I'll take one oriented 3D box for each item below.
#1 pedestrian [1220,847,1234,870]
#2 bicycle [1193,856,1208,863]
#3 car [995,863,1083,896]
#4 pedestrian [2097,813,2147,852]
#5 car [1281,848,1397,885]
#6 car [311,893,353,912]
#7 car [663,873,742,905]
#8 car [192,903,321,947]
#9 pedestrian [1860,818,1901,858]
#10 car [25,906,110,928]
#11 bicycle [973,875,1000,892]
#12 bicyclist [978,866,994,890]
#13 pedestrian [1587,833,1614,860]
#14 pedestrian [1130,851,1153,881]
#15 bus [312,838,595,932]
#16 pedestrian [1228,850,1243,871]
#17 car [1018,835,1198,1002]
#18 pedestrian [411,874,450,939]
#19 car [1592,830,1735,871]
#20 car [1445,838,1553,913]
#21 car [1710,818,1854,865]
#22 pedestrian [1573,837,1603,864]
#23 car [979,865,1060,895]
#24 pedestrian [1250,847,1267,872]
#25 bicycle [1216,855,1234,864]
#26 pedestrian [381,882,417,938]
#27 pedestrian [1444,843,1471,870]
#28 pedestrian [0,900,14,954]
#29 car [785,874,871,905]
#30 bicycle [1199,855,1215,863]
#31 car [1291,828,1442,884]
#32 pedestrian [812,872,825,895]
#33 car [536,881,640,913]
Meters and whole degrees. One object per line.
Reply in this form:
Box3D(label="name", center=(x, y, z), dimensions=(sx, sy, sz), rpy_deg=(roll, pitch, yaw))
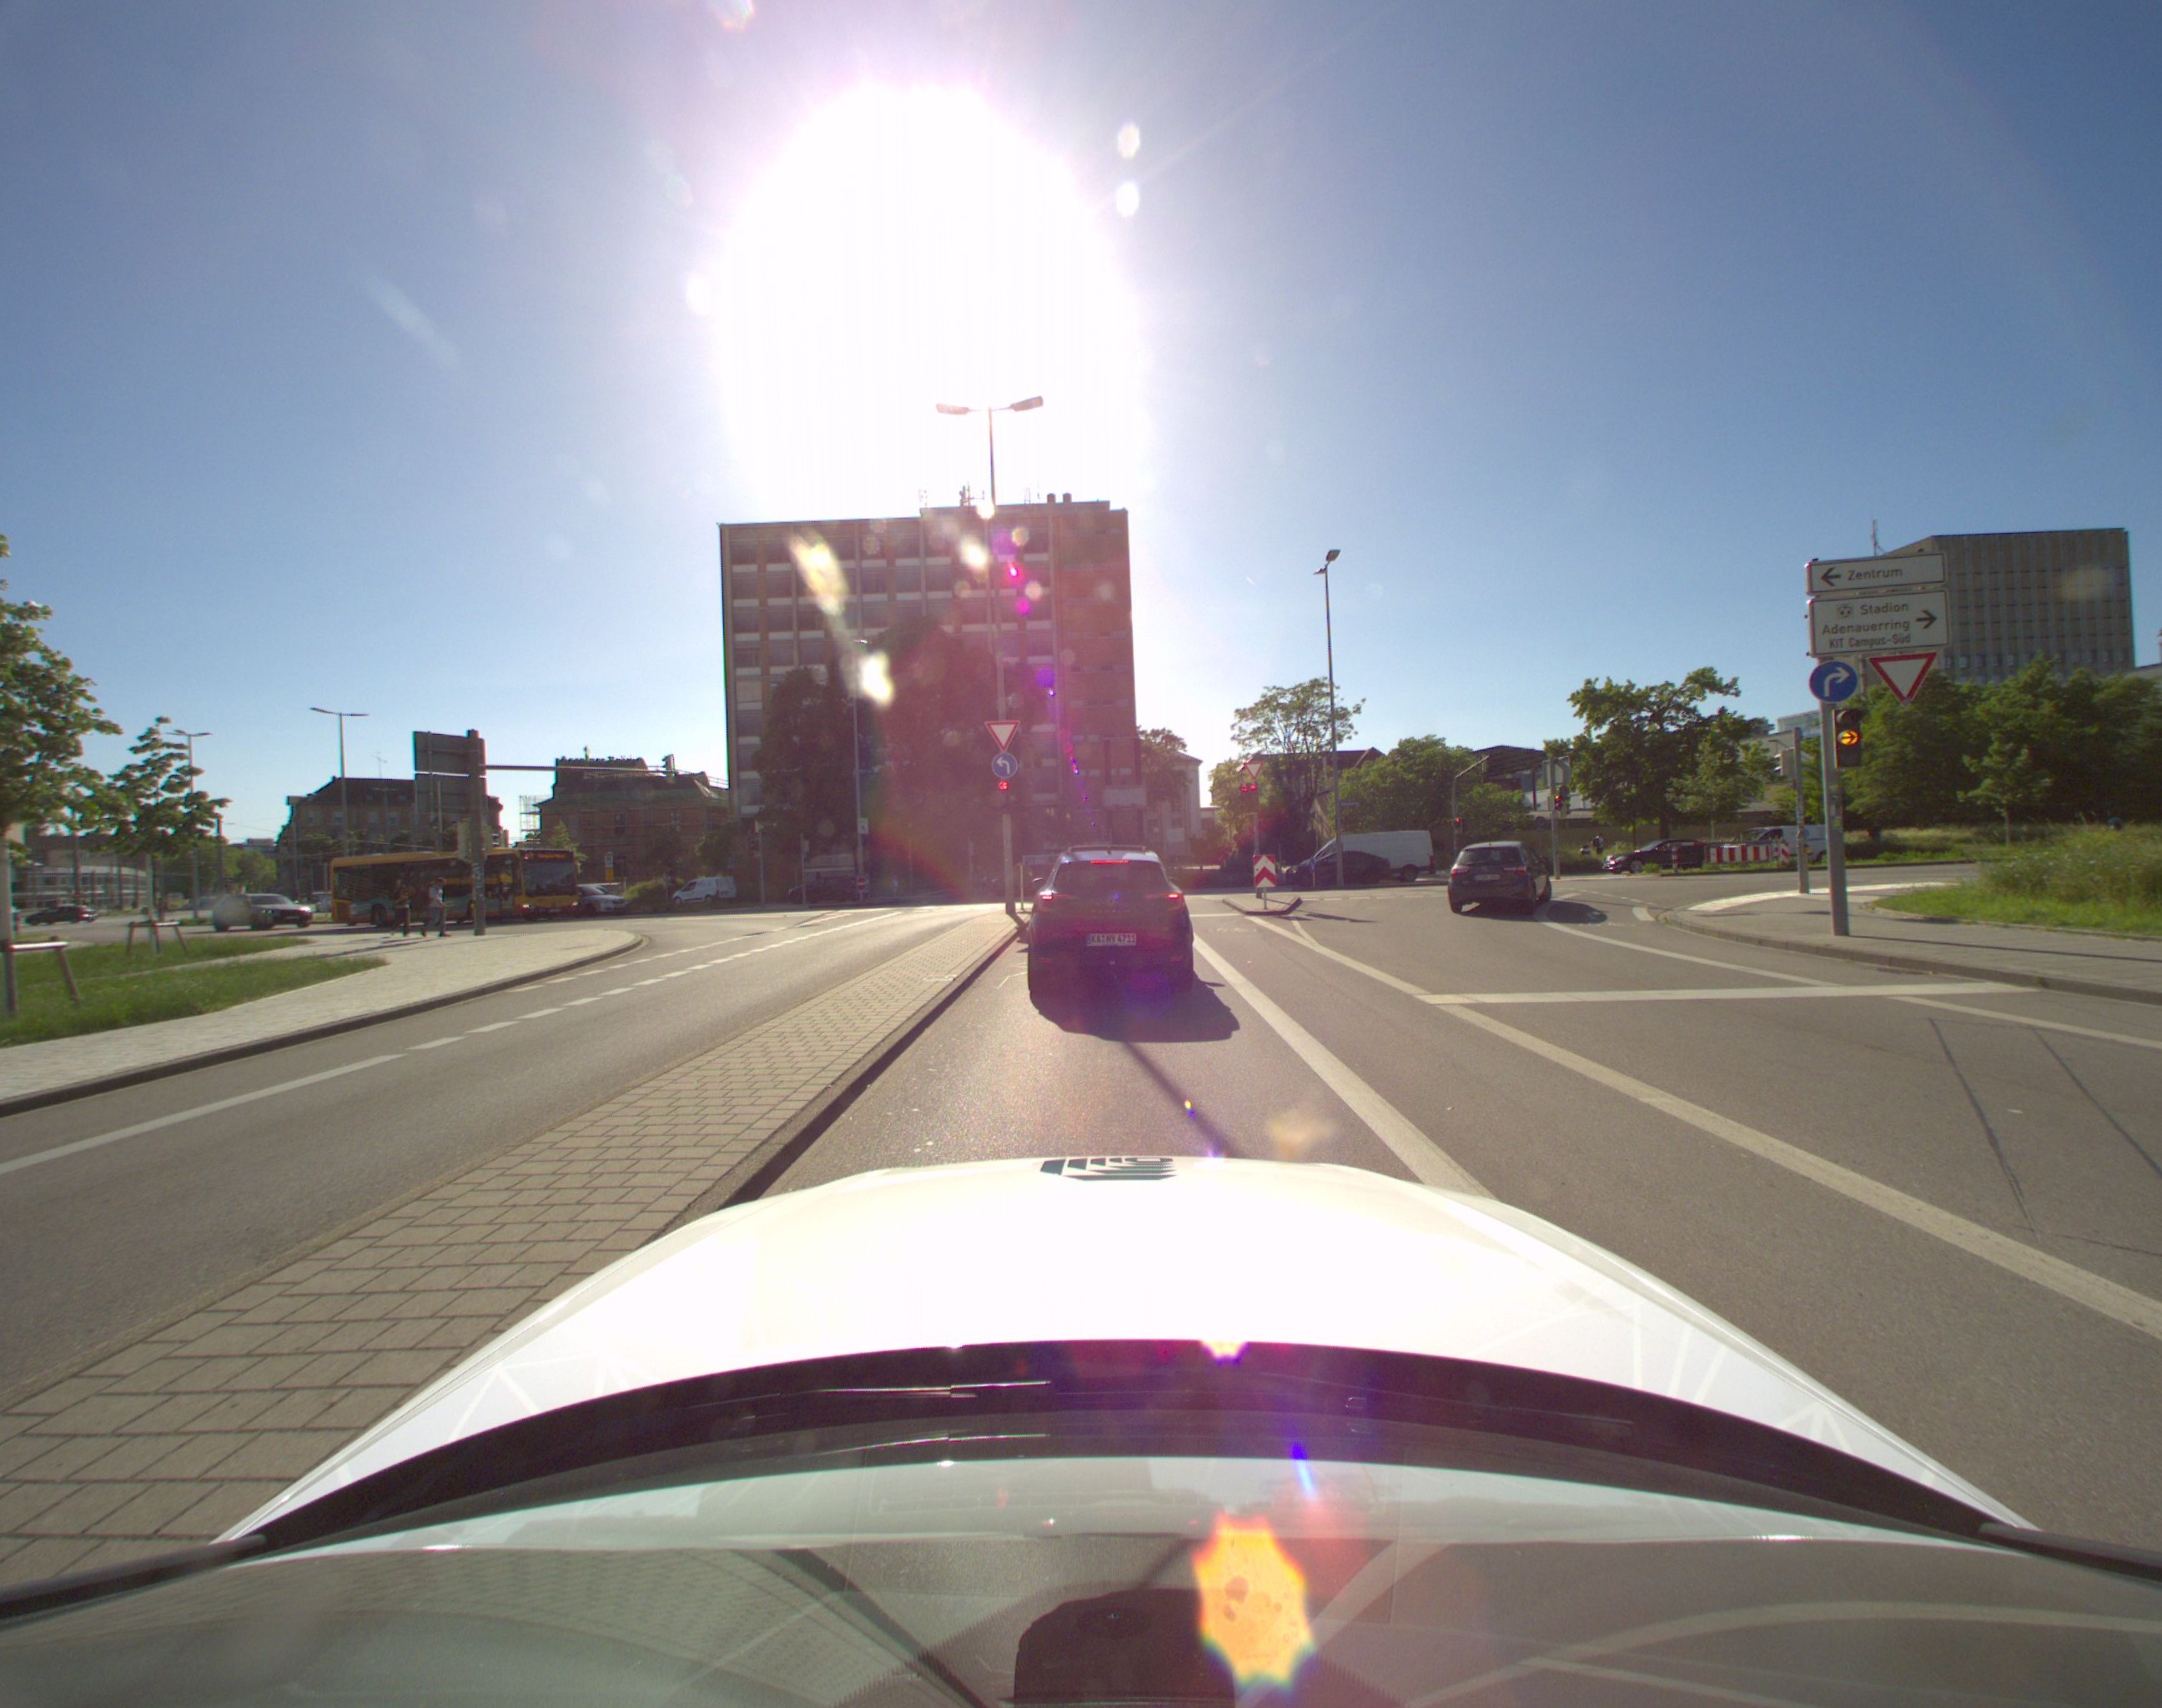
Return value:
Box3D(label="pedestrian", center=(11.681, 0.367, 65.096), dimensions=(0.949, 1.741, 0.984), rpy_deg=(-2, 0, 2))
Box3D(label="bicycle", center=(15.309, 0.689, 104.422), dimensions=(1.764, 0.893, 0.766), rpy_deg=(-2, 0, 2))
Box3D(label="car", center=(-2.095, 1.286, 41.532), dimensions=(4.020, 1.439, 2.071), rpy_deg=(-2, 0, 10))
Box3D(label="pedestrian", center=(56.413, -1.153, 44.158), dimensions=(1.225, 2.079, 1.084), rpy_deg=(-2, 0, 5))
Box3D(label="car", center=(12.099, 0.593, 38.527), dimensions=(5.000, 1.673, 2.005), rpy_deg=(-1, -2, 8))
Box3D(label="car", center=(-69.970, 4.526, 76.072), dimensions=(3.948, 1.582, 2.013), rpy_deg=(-1, -1, 33))
Box3D(label="car", center=(-24.312, 2.234, 52.405), dimensions=(4.137, 1.881, 2.225), rpy_deg=(-2, 0, 19))
Box3D(label="car", center=(-40.121, 3.452, 39.676), dimensions=(4.697, 1.861, 2.011), rpy_deg=(-2, 0, 10))
Box3D(label="pedestrian", center=(43.581, -0.872, 44.382), dimensions=(1.181, 2.079, 0.983), rpy_deg=(-2, 0, 5))
Box3D(label="car", center=(-85.849, 5.323, 69.079), dimensions=(4.011, 1.582, 1.981), rpy_deg=(0, -1, -29))
Box3D(label="bicycle", center=(-5.722, 1.787, 49.582), dimensions=(0.692, 1.007, 1.879), rpy_deg=(-5, -3, 25))
Box3D(label="bicyclist", center=(-5.760, 1.464, 49.548), dimensions=(0.641, 1.412, 0.642), rpy_deg=(-4, -3, 24))
Box3D(label="pedestrian", center=(29.640, -0.420, 46.507), dimensions=(0.966, 1.521, 0.886), rpy_deg=(-2, 0, 5))
Box3D(label="pedestrian", center=(3.881, 0.732, 51.987), dimensions=(1.288, 1.855, 0.969), rpy_deg=(-2, 0, 13))
Box3D(label="bus", center=(-27.125, 1.379, 35.121), dimensions=(12.320, 3.570, 3.266), rpy_deg=(-2, 0, 19))
Box3D(label="pedestrian", center=(12.253, 0.548, 64.703), dimensions=(0.932, 1.613, 1.176), rpy_deg=(-2, 0, 2))
Box3D(label="car", center=(0.300, 0.634, 10.108), dimensions=(1.788, 1.655, 3.853), rpy_deg=(-1, 0, 1))
Box3D(label="pedestrian", center=(-19.313, 1.554, 24.176), dimensions=(0.673, 1.855, 0.608), rpy_deg=(-2, 0, 24))
Box3D(label="car", center=(26.177, -0.151, 36.785), dimensions=(4.815, 1.582, 2.106), rpy_deg=(-2, 0, 7))
Box3D(label="car", center=(9.659, 0.404, 18.648), dimensions=(1.720, 1.516, 4.026), rpy_deg=(0, 1, 34))
Box3D(label="car", center=(33.710, -0.599, 39.283), dimensions=(4.976, 2.013, 2.075), rpy_deg=(-2, 0, 4))
Box3D(label="pedestrian", center=(29.463, -0.219, 47.333), dimensions=(1.123, 1.521, 0.992), rpy_deg=(-2, 0, 5))
Box3D(label="car", center=(-3.404, 1.441, 45.387), dimensions=(4.017, 1.439, 2.073), rpy_deg=(-2, 0, 12))
Box3D(label="pedestrian", center=(14.409, 0.443, 66.145), dimensions=(1.152, 2.013, 1.165), rpy_deg=(-2, 0, 2))
Box3D(label="bicycle", center=(15.629, 0.597, 88.242), dimensions=(1.770, 0.823, 0.763), rpy_deg=(-2, 0, -9))
Box3D(label="pedestrian", center=(-21.218, 1.735, 25.340), dimensions=(0.627, 1.697, 0.608), rpy_deg=(-2, 0, 24))
Box3D(label="pedestrian", center=(22.221, 0.153, 48.110), dimensions=(1.140, 1.521, 0.943), rpy_deg=(-2, 0, 7))
Box3D(label="pedestrian", center=(-37.856, 2.545, 28.236), dimensions=(0.856, 1.845, 0.847), rpy_deg=(-2, 0, 24))
Box3D(label="car", center=(-13.740, 1.905, 44.291), dimensions=(3.875, 1.448, 2.108), rpy_deg=(-2, 0, 11))
Box3D(label="bicycle", center=(15.472, 0.655, 100.053), dimensions=(1.764, 0.898, 0.766), rpy_deg=(-2, 0, 2))
Box3D(label="car", center=(14.526, 0.108, 41.991), dimensions=(6.891, 2.547, 3.022), rpy_deg=(-2, 0, 11))
Box3D(label="pedestrian", center=(-18.740, 2.106, 58.155), dimensions=(0.528, 1.571, 0.559), rpy_deg=(-2, 0, 26))
Box3D(label="car", center=(-22.149, 1.934, 36.614), dimensions=(3.815, 1.403, 1.900), rpy_deg=(-1, -3, 16))
